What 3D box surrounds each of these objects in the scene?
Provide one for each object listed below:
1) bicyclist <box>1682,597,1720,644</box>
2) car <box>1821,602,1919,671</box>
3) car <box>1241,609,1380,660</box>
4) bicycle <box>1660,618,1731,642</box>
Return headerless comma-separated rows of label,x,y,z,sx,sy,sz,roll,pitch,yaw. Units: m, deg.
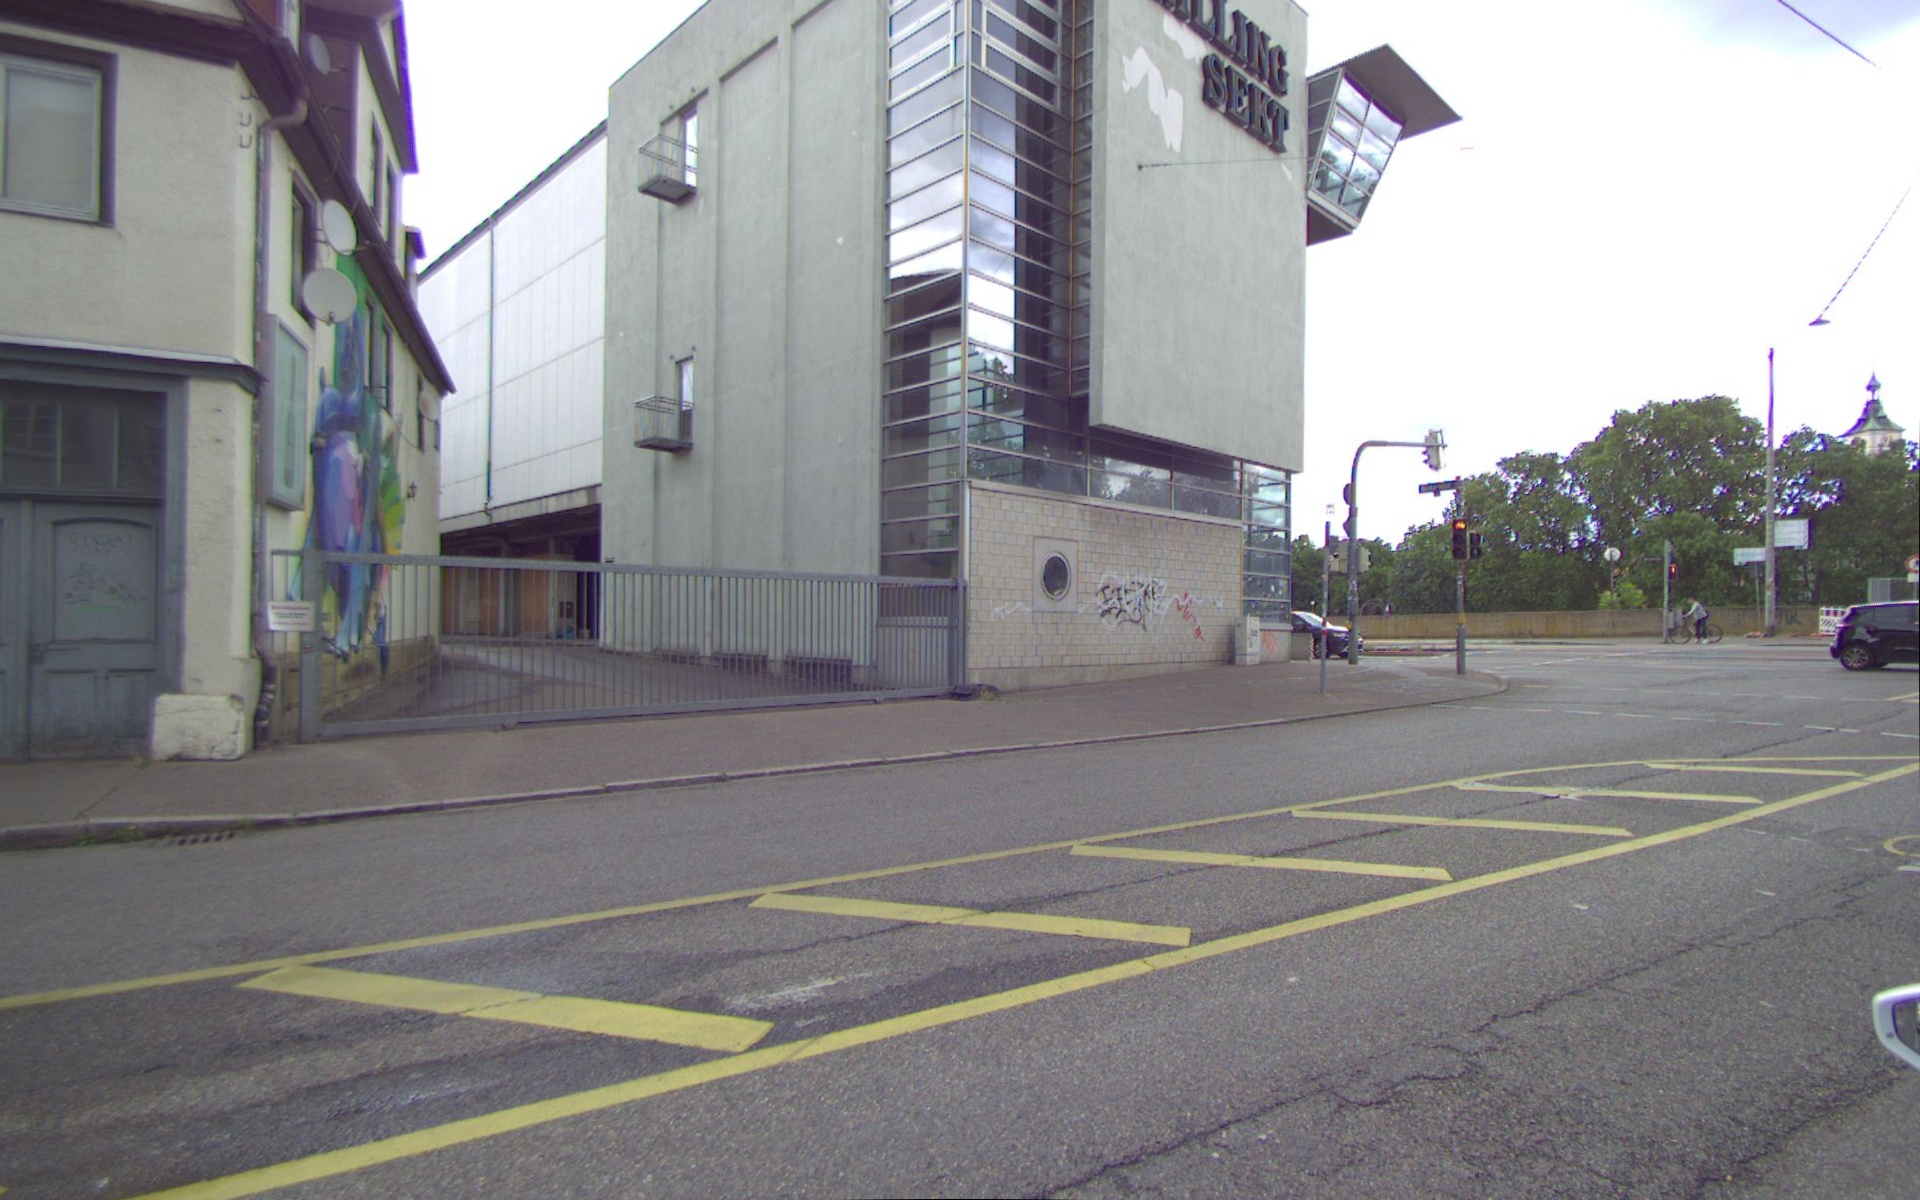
bicyclist,28.680,0.783,38.875,0.985,1.767,0.755,0,0,20
car,21.007,0.761,21.426,1.811,1.447,3.718,-1,-1,-37
car,11.753,1.154,33.810,4.028,1.594,1.817,-2,-1,44
bicycle,28.485,1.156,38.944,2.096,0.904,0.760,-1,0,20
